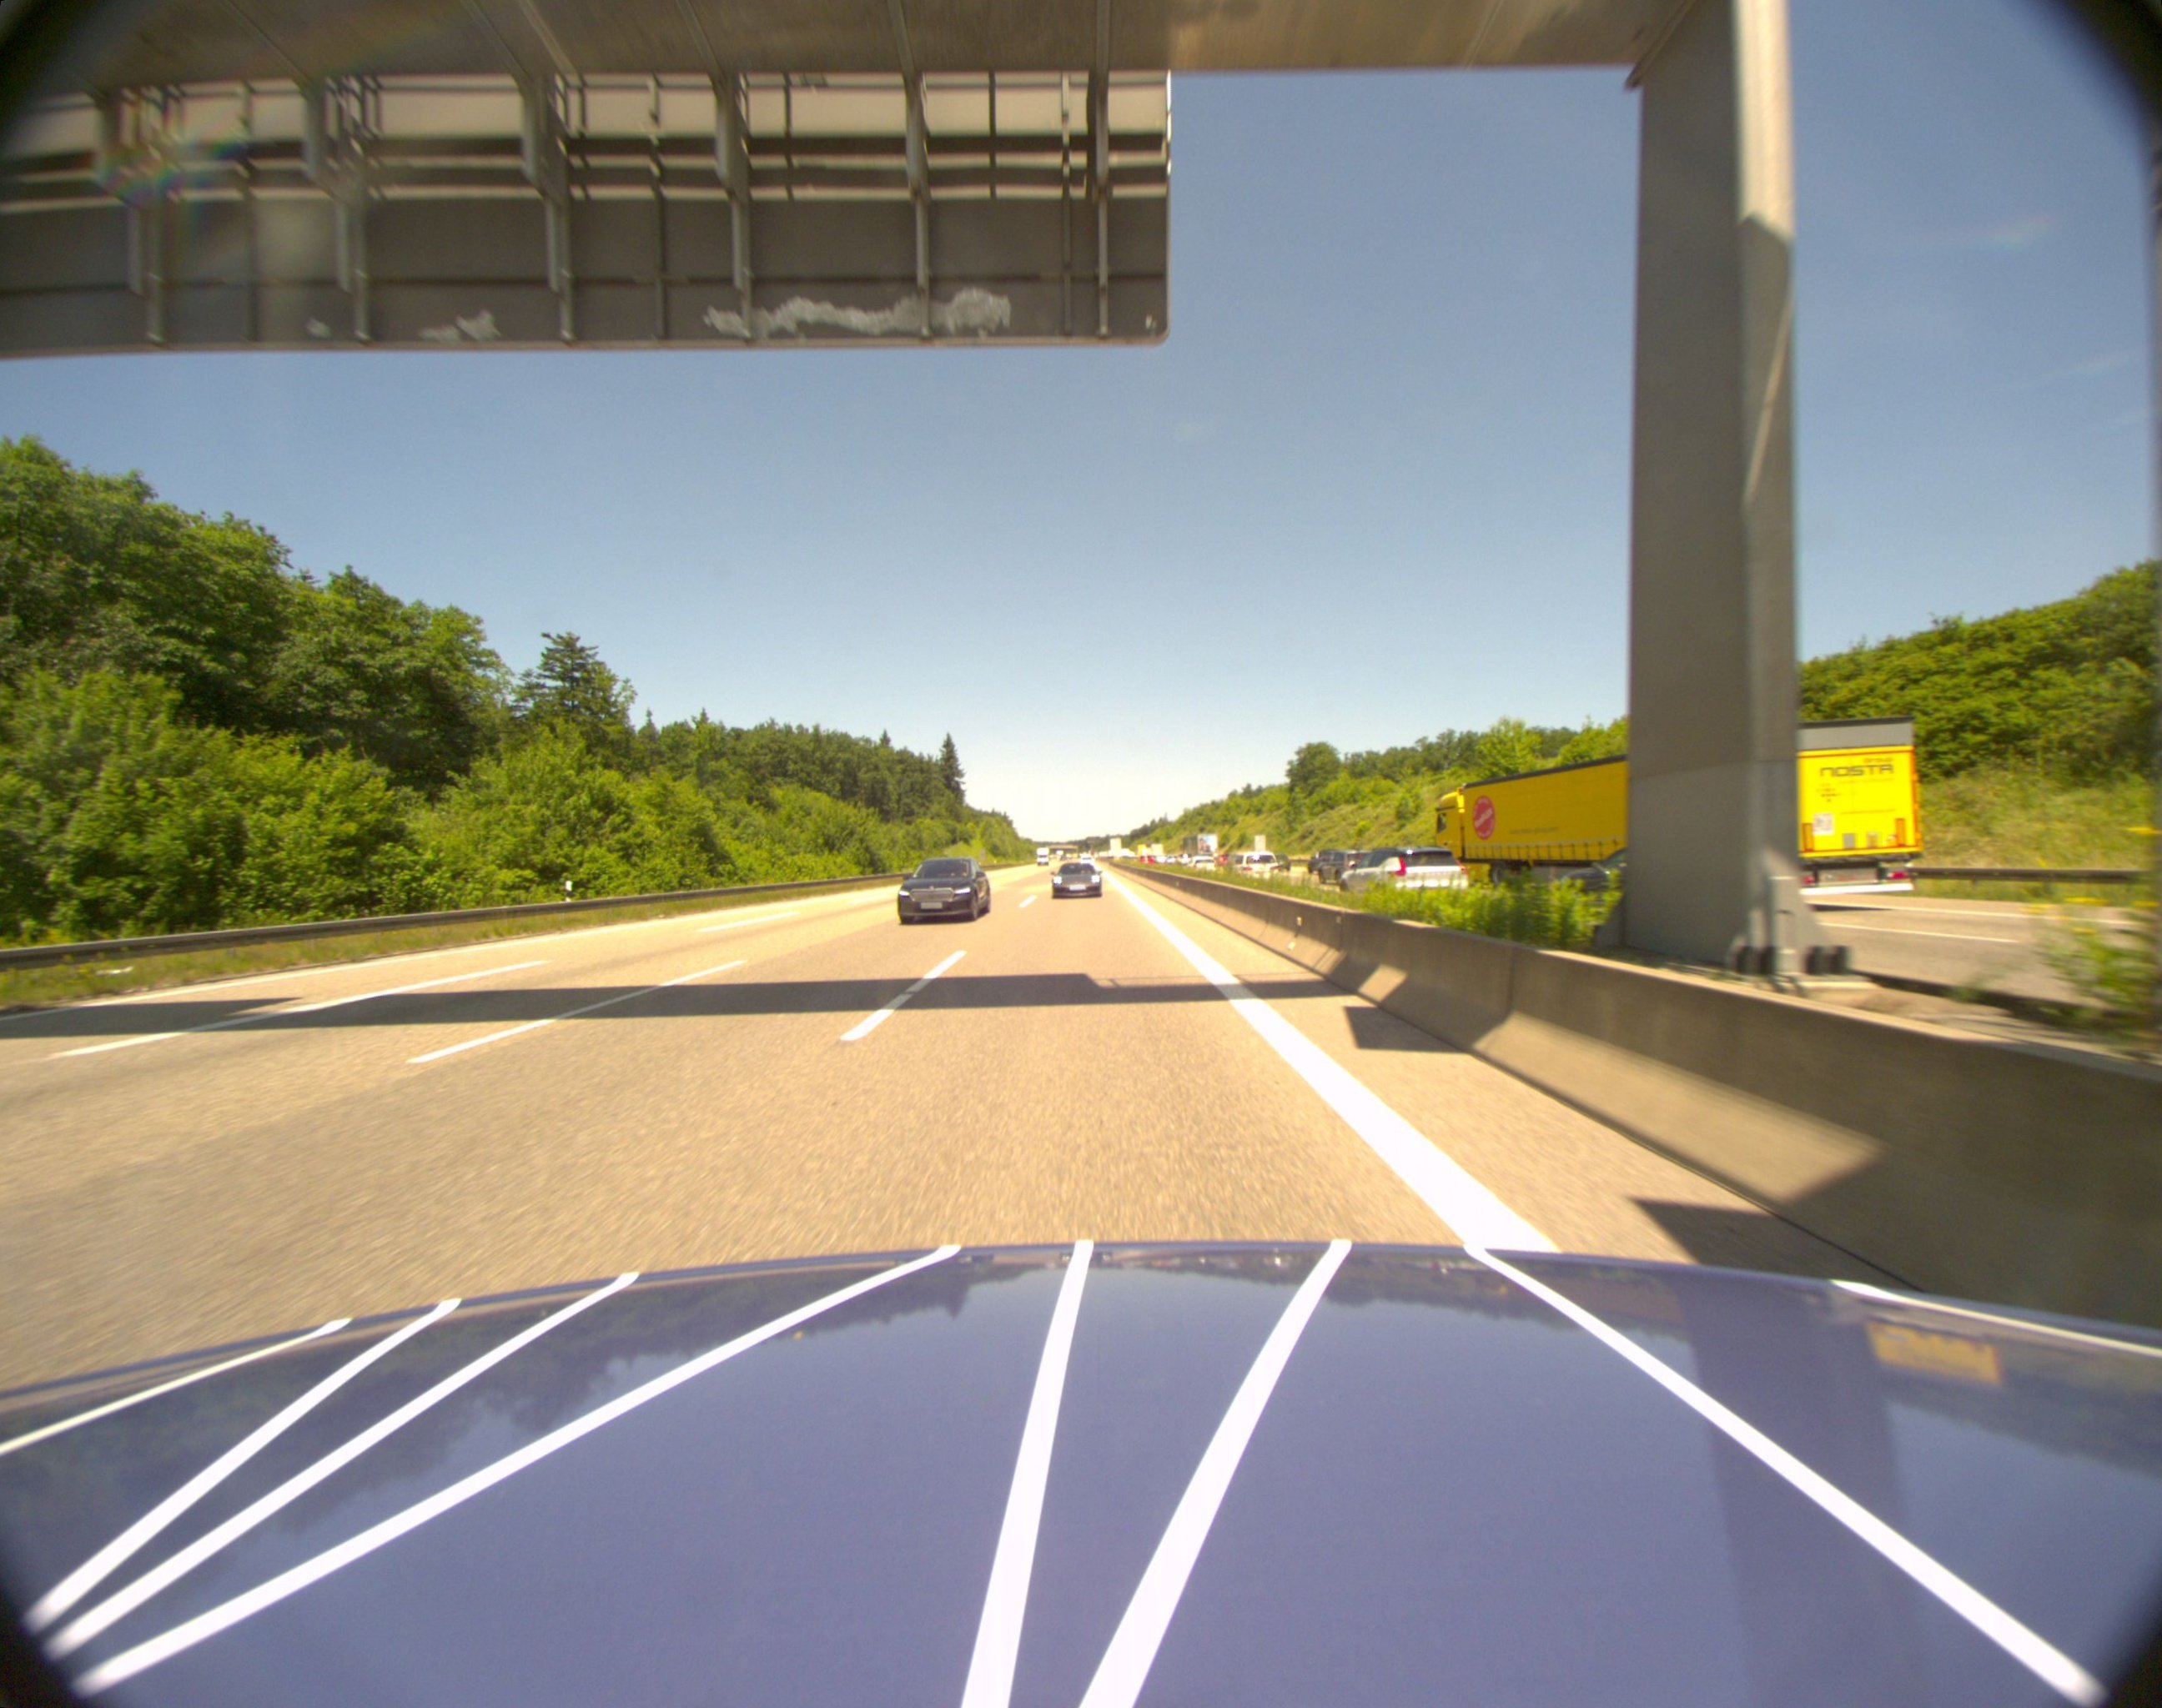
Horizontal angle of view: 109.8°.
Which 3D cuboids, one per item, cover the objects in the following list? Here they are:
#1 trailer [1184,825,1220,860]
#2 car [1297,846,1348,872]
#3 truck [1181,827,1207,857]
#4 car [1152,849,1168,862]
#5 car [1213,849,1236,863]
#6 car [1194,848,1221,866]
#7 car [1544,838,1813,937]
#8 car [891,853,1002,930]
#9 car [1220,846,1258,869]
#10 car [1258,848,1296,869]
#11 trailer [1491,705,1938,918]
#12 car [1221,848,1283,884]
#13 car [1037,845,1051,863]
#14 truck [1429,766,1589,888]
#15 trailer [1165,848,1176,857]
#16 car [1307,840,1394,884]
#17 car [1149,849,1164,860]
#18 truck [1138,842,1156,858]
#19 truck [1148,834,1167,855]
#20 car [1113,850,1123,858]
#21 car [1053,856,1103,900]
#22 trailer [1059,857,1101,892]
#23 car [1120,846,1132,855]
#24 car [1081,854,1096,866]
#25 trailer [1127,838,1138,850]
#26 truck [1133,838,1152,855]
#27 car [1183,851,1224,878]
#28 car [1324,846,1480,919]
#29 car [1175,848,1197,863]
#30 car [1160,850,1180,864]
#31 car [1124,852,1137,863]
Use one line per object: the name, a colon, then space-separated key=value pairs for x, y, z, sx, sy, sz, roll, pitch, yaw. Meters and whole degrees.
trailer: x=16.172 y=-1.549 z=102.584 sx=2.850 sy=4.237 sz=12.785 roll=-2 pitch=1 yaw=1
car: x=15.522 y=0.301 z=49.112 sx=1.816 sy=1.504 sz=4.600 roll=-2 pitch=1 yaw=1
truck: x=16.204 y=-1.716 z=109.635 sx=2.826 sy=4.179 sz=5.628 roll=-2 pitch=1 yaw=0
car: x=12.170 y=0.214 z=117.549 sx=1.832 sy=1.754 sz=4.989 roll=-2 pitch=1 yaw=-1
car: x=16.257 y=0.184 z=86.046 sx=1.816 sy=1.458 sz=4.122 roll=-2 pitch=1 yaw=1
car: x=12.388 y=0.271 z=74.751 sx=1.816 sy=1.619 sz=4.908 roll=-2 pitch=1 yaw=1
car: x=11.494 y=0.533 z=15.121 sx=1.780 sy=1.603 sz=4.558 roll=-2 pitch=1 yaw=1
car: x=-3.419 y=0.887 z=20.192 sx=1.989 sy=1.610 sz=4.456 roll=-1 pitch=2 yaw=2
car: x=12.218 y=0.234 z=58.990 sx=1.816 sy=1.619 sz=5.381 roll=-2 pitch=1 yaw=1
car: x=15.608 y=0.300 z=60.713 sx=1.816 sy=1.504 sz=4.797 roll=-2 pitch=1 yaw=1
trailer: x=15.830 y=-0.915 z=21.073 sx=2.657 sy=4.120 sz=11.855 roll=-2 pitch=1 yaw=1
car: x=8.056 y=0.496 z=36.198 sx=1.816 sy=1.504 sz=5.029 roll=-2 pitch=1 yaw=1
car: x=-7.128 y=0.041 z=147.118 sx=2.303 sy=3.317 sz=7.620 roll=-2 pitch=1 yaw=-1
truck: x=15.980 y=-0.969 z=28.921 sx=2.608 sy=4.041 sz=6.132 roll=-2 pitch=1 yaw=1
trailer: x=16.668 y=-0.205 z=141.224 sx=1.698 sy=1.578 sz=3.221 roll=-2 pitch=1 yaw=0
car: x=12.108 y=0.284 z=34.614 sx=1.867 sy=1.742 sz=5.901 roll=-2 pitch=1 yaw=1
car: x=12.670 y=0.073 z=127.121 sx=1.832 sy=1.754 sz=4.989 roll=-2 pitch=1 yaw=-1
truck: x=12.445 y=-0.751 z=143.312 sx=2.575 sy=2.829 sz=6.751 roll=-2 pitch=1 yaw=-1
truck: x=17.063 y=-2.168 z=170.760 sx=3.002 sy=4.517 sz=13.923 roll=-2 pitch=1 yaw=1
car: x=8.297 y=-0.054 z=170.687 sx=1.832 sy=1.754 sz=4.989 roll=-2 pitch=1 yaw=-1
car: x=-0.050 y=0.870 z=29.444 sx=1.718 sy=1.432 sz=4.457 roll=-2 pitch=1 yaw=1
trailer: x=-0.013 y=0.847 z=32.736 sx=1.689 sy=1.399 sz=3.046 roll=-2 pitch=0 yaw=1
car: x=8.537 y=-0.674 z=145.681 sx=1.832 sy=1.556 sz=5.110 roll=-2 pitch=1 yaw=-1
car: x=0.901 y=0.730 z=94.453 sx=1.719 sy=1.432 sz=4.456 roll=-1 pitch=1 yaw=-1
trailer: x=17.029 y=-3.370 z=251.954 sx=2.617 sy=3.711 sz=10.681 roll=-2 pitch=0 yaw=0
truck: x=16.629 y=-2.023 z=205.896 sx=3.706 sy=4.431 sz=16.672 roll=-2 pitch=1 yaw=0
car: x=7.684 y=0.611 z=47.898 sx=1.816 sy=1.504 sz=4.817 roll=-2 pitch=1 yaw=1
car: x=7.815 y=0.596 z=19.080 sx=1.816 sy=1.504 sz=5.029 roll=-2 pitch=1 yaw=1
car: x=12.282 y=0.134 z=89.122 sx=1.816 sy=1.619 sz=5.218 roll=-2 pitch=1 yaw=1
car: x=11.885 y=0.425 z=101.684 sx=1.832 sy=1.754 sz=4.989 roll=-2 pitch=1 yaw=-1
car: x=8.628 y=0.582 z=132.734 sx=1.832 sy=1.754 sz=4.989 roll=-2 pitch=1 yaw=-1
